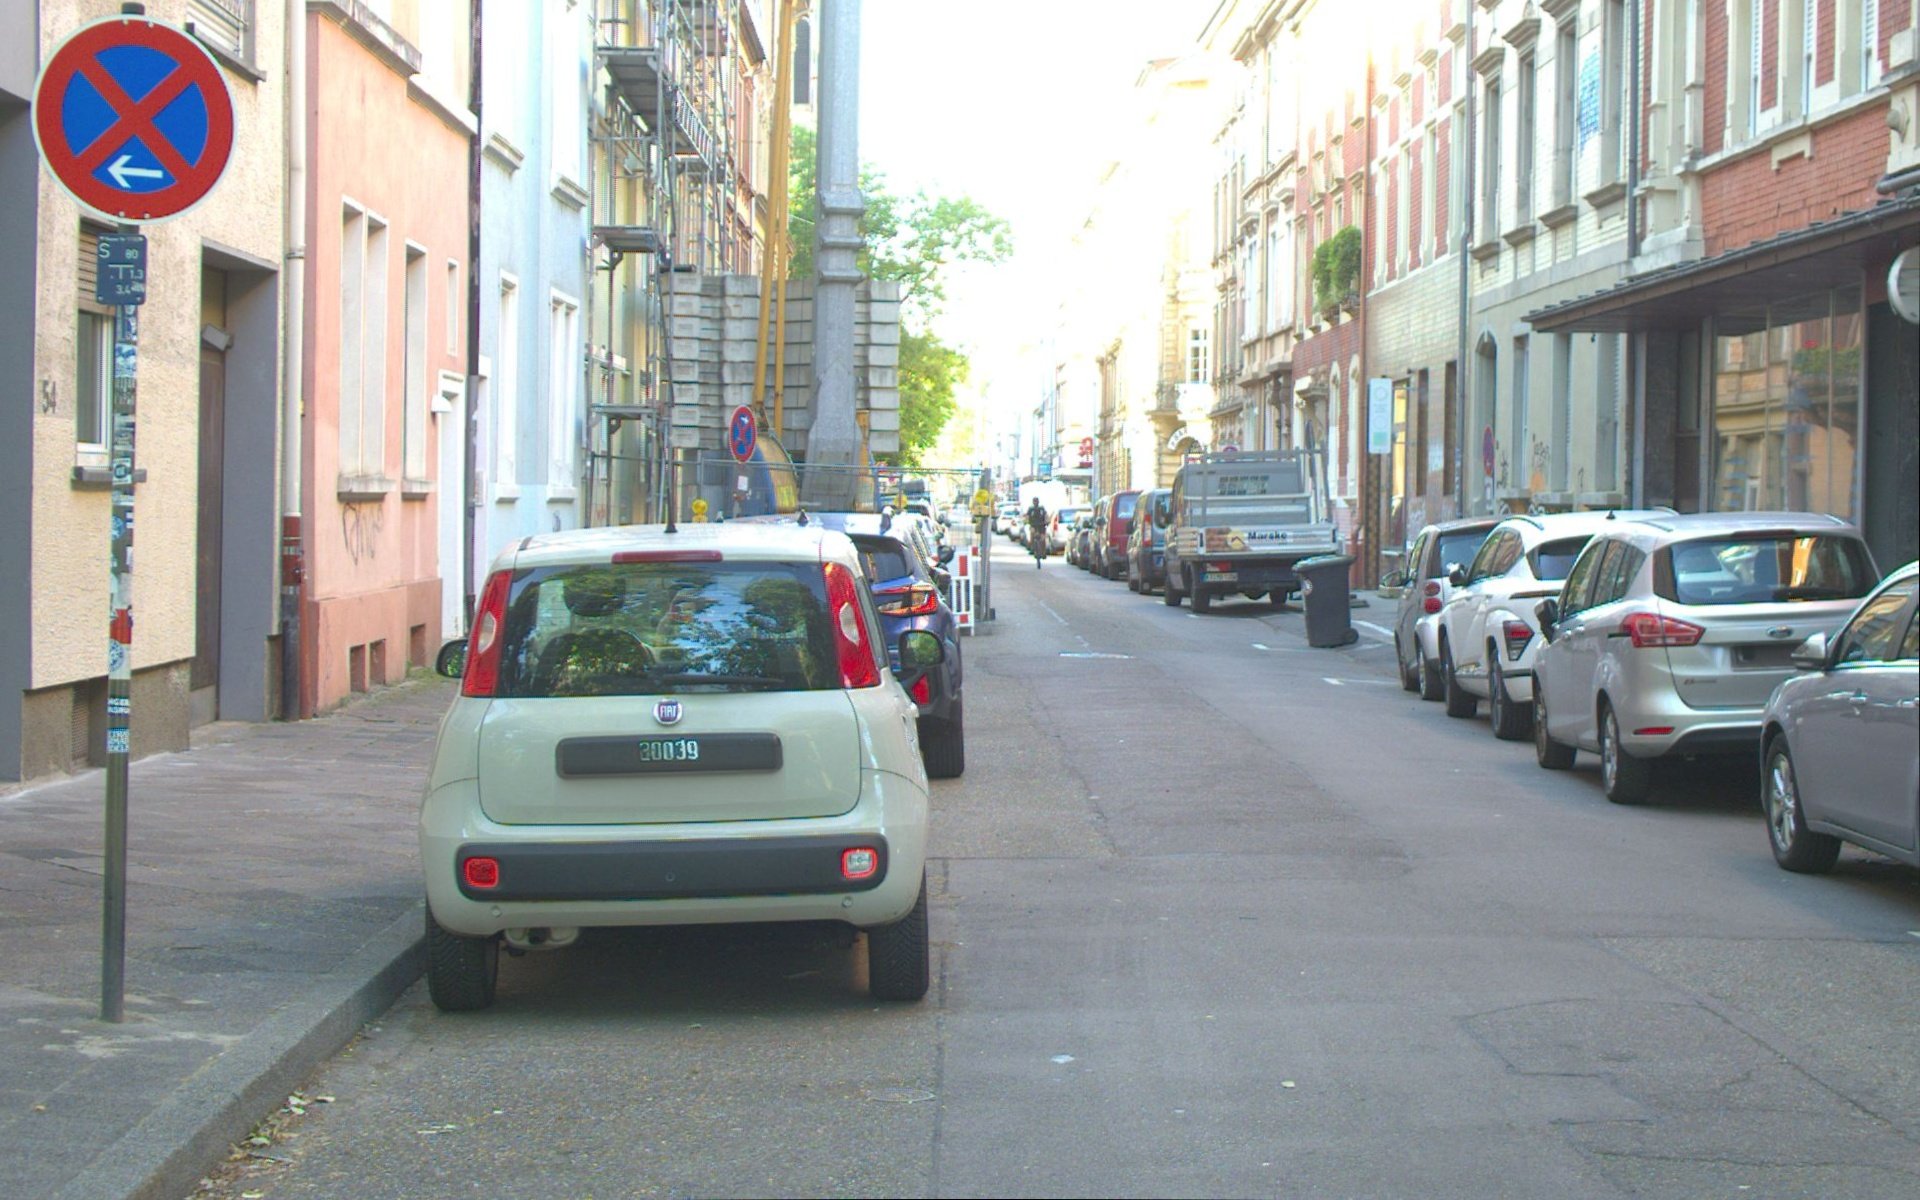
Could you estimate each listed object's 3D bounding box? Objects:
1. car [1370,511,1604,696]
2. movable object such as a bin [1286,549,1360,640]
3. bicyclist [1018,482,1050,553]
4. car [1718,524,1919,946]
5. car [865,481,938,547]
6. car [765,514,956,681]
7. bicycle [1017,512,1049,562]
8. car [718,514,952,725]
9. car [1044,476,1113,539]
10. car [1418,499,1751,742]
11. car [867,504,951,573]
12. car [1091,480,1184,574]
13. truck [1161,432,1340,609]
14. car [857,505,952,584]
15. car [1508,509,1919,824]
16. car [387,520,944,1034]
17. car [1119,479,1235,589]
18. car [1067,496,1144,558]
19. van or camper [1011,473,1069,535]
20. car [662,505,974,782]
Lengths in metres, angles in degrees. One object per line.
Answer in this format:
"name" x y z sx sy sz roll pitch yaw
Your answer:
"car" 4.701 -0.019 31.103 1.597 1.555 3.814 0 2 1
"movable object such as a bin" 4.311 -0.065 40.872 0.795 1.052 0.660 1 2 0
"bicyclist" 1.853 -2.073 86.375 0.730 1.755 0.835 2 2 0
"car" 4.495 0.511 14.099 1.721 1.556 4.399 1 2 -1
"car" -1.456 -2.114 84.242 1.674 1.565 3.870 0 1 -3
"car" -0.907 -0.080 32.786 1.675 1.472 4.608 0 1 -1
"bicycle" 1.839 -1.598 86.376 0.724 1.182 2.043 2 2 0
"car" -0.928 0.087 27.059 1.675 1.506 4.415 0 1 -1
"car" 3.909 -3.068 114.012 1.993 2.006 4.001 1 2 -2
"car" 4.600 0.087 25.925 1.746 1.670 4.341 0 1 1
"car" -1.117 -1.342 74.084 1.674 1.440 3.870 0 1 -3
"car" 3.901 -1.624 76.104 1.674 2.024 3.870 0 1 -3
"truck" 4.418 -1.246 53.106 2.189 2.598 5.235 0 2 -1
"car" -1.080 -1.073 65.271 1.674 1.440 3.870 0 1 -3
"car" 4.358 0.307 20.239 1.640 1.650 3.869 1 1 0
"car" -0.976 0.490 12.339 1.674 1.534 3.870 0 1 -3
"car" 3.983 -1.234 63.614 1.674 1.956 4.110 0 1 -3
"car" 3.768 -1.899 89.589 1.674 1.565 3.870 0 1 -3
"van or camper" 3.311 -3.991 142.614 1.993 2.499 4.203 0 2 -4
"car" -0.895 0.187 21.428 1.729 1.534 4.378 -1 1 -3
